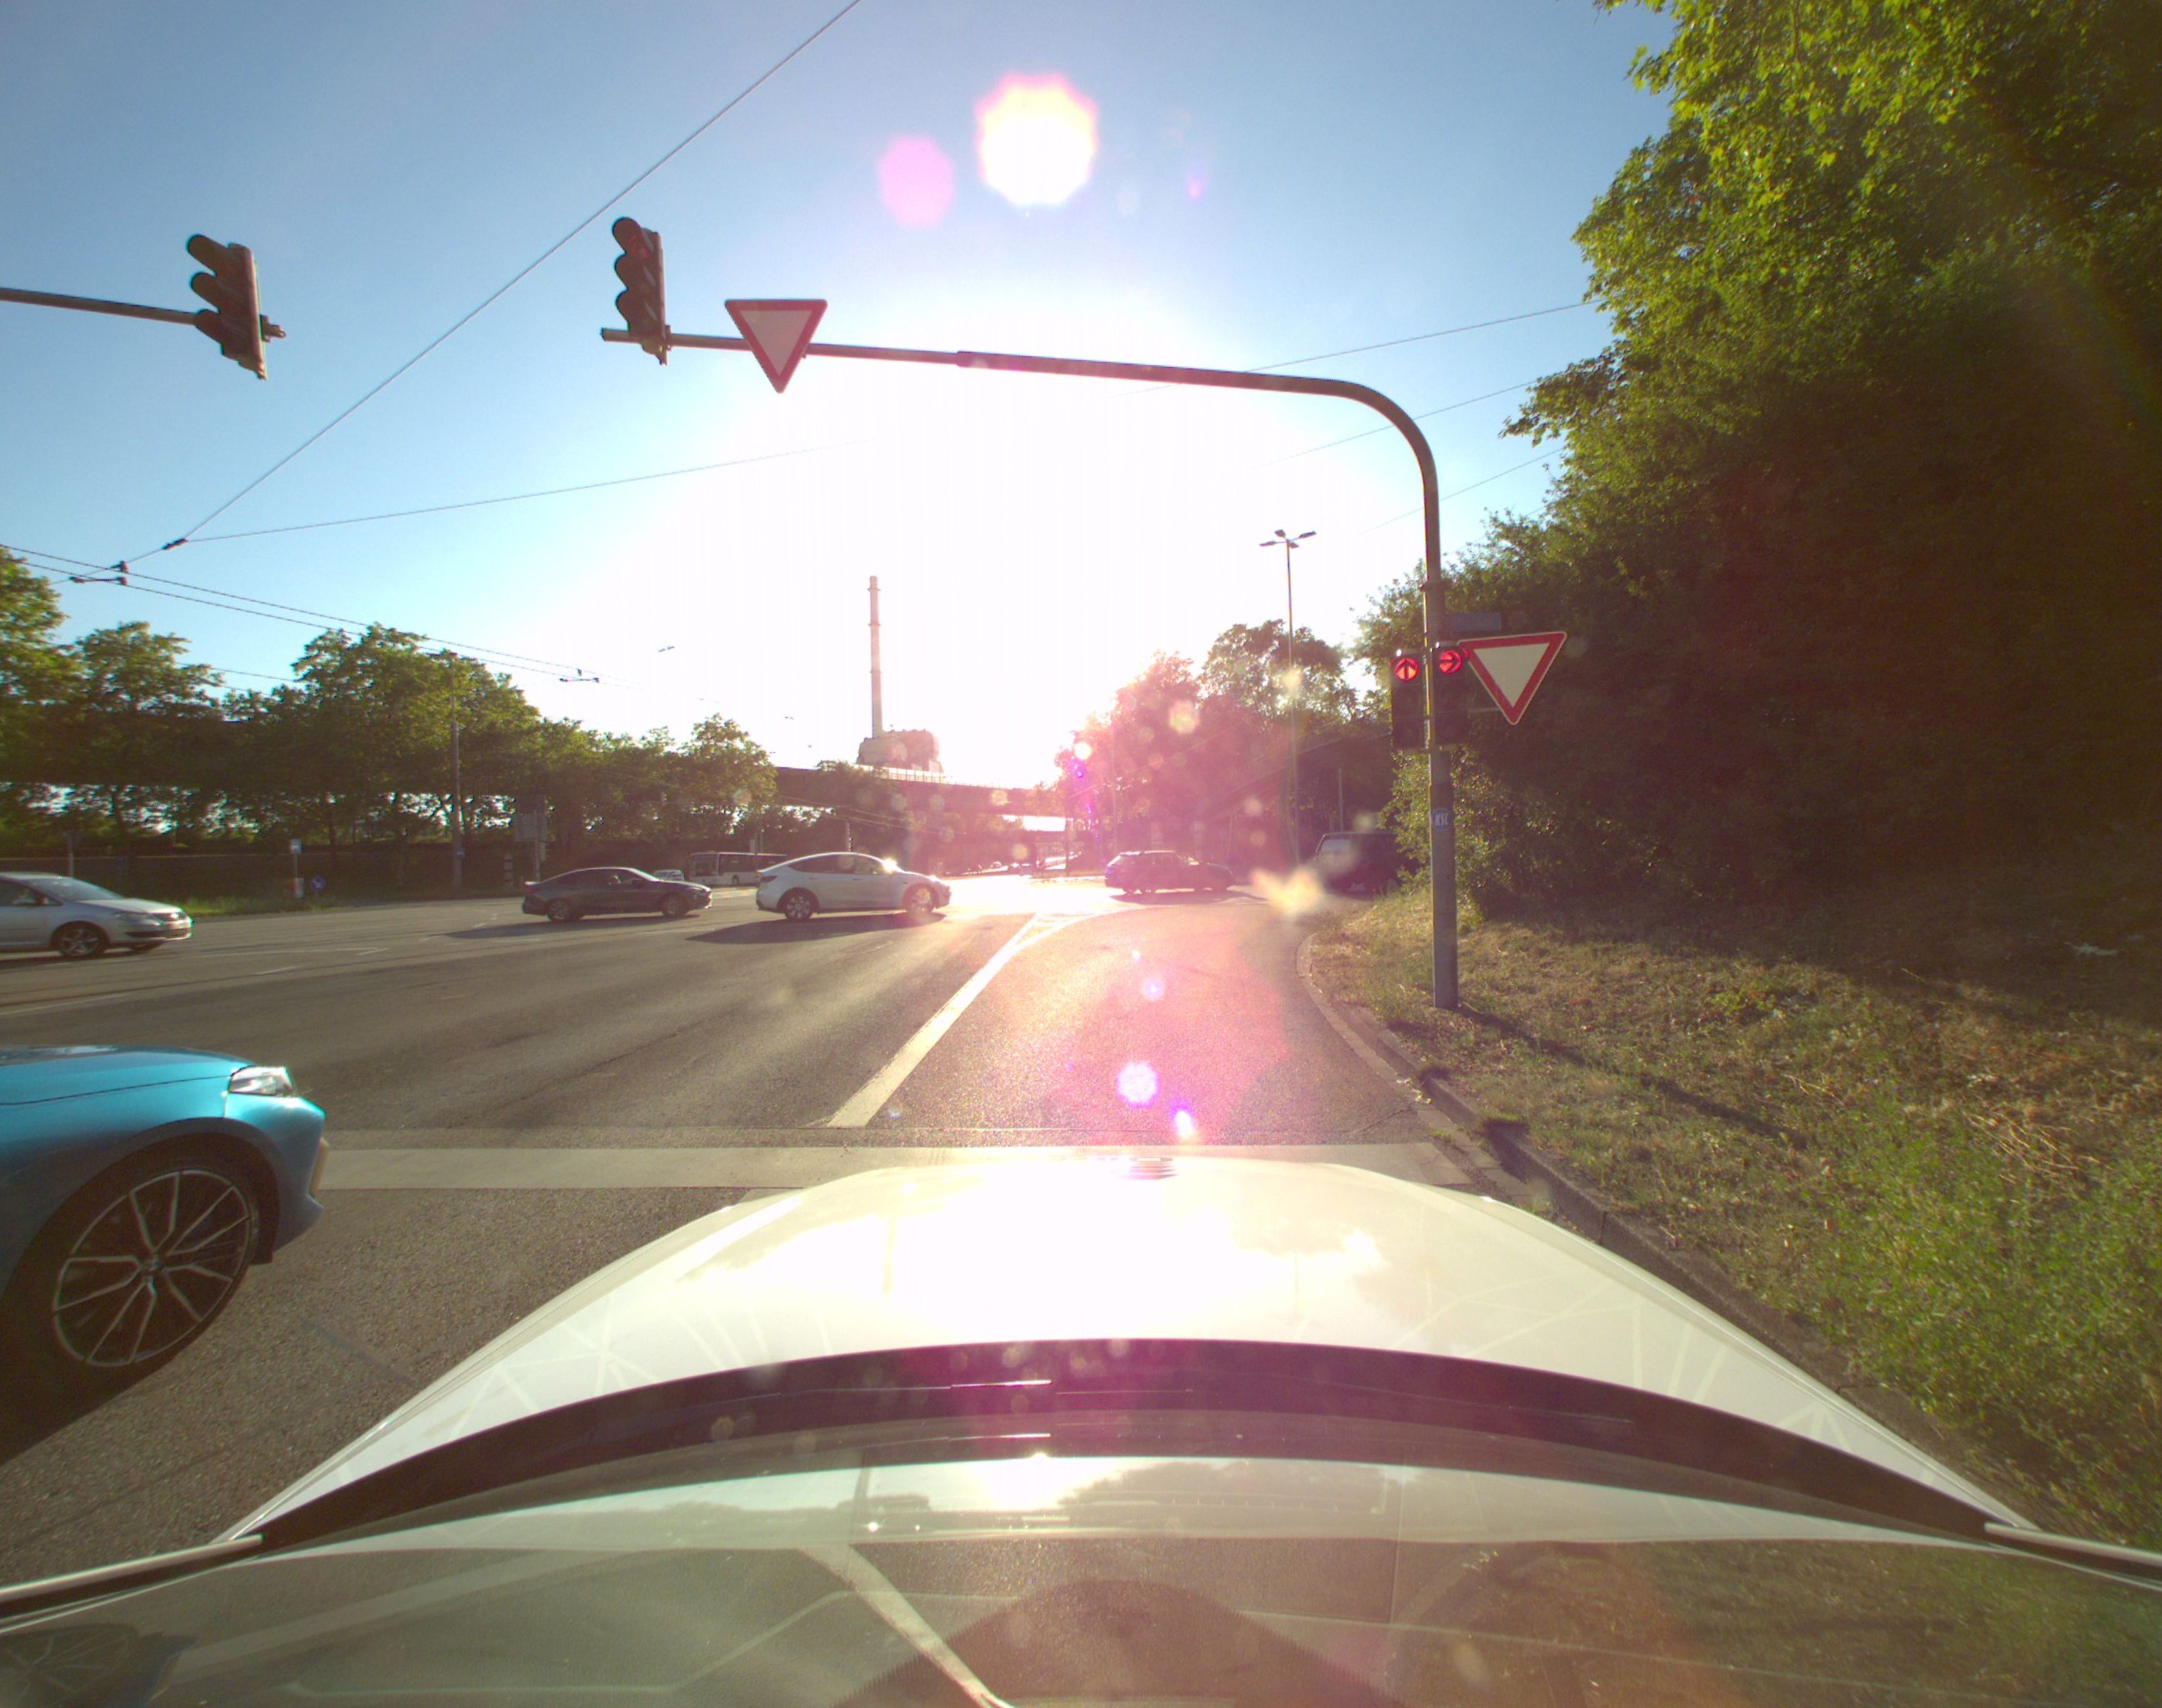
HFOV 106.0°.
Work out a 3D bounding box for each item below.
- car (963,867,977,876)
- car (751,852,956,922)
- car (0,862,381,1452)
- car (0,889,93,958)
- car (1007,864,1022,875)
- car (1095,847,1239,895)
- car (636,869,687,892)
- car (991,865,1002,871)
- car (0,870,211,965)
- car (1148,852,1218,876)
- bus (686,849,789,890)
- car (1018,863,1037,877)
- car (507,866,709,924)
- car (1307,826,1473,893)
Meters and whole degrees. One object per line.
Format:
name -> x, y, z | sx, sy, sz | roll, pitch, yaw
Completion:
car -> -19.594, 3.073, 143.974 | 1.600, 1.419, 4.012 | -1, 0, 3
car -> -5.649, 0.766, 20.423 | 4.767, 1.575, 1.682 | -1, 0, -20
car -> -3.564, 0.793, 1.043 | 1.709, 1.466, 4.205 | -2, 0, -1
car -> -24.357, 1.513, 17.107 | 4.292, 1.364, 1.611 | -1, 0, -23
car -> -9.034, 2.063, 111.497 | 1.660, 1.405, 4.444 | -1, 0, 0
car -> 2.941, 0.557, 27.948 | 4.624, 1.459, 1.683 | -1, 0, -19
car -> -30.135, 1.857, 58.593 | 1.601, 1.512, 4.007 | -1, 0, 0
car -> -18.588, 3.087, 179.060 | 1.600, 1.419, 4.012 | -1, 0, 3
car -> -19.663, 1.160, 15.245 | 4.289, 1.631, 1.682 | -1, 0, -21
car -> 7.172, 0.666, 57.166 | 4.585, 1.575, 1.685 | -1, 0, -16
bus -> -29.416, 1.370, 70.771 | 2.532, 3.130, 12.931 | -2, -2, 4
car -> -5.984, 1.780, 91.880 | 1.659, 1.405, 4.199 | -1, 0, 2
car -> -12.719, 1.068, 22.232 | 4.490, 1.369, 1.683 | -1, 0, -19
car -> 10.069, 0.149, 26.568 | 4.945, 1.991, 2.023 | -1, 0, -20
